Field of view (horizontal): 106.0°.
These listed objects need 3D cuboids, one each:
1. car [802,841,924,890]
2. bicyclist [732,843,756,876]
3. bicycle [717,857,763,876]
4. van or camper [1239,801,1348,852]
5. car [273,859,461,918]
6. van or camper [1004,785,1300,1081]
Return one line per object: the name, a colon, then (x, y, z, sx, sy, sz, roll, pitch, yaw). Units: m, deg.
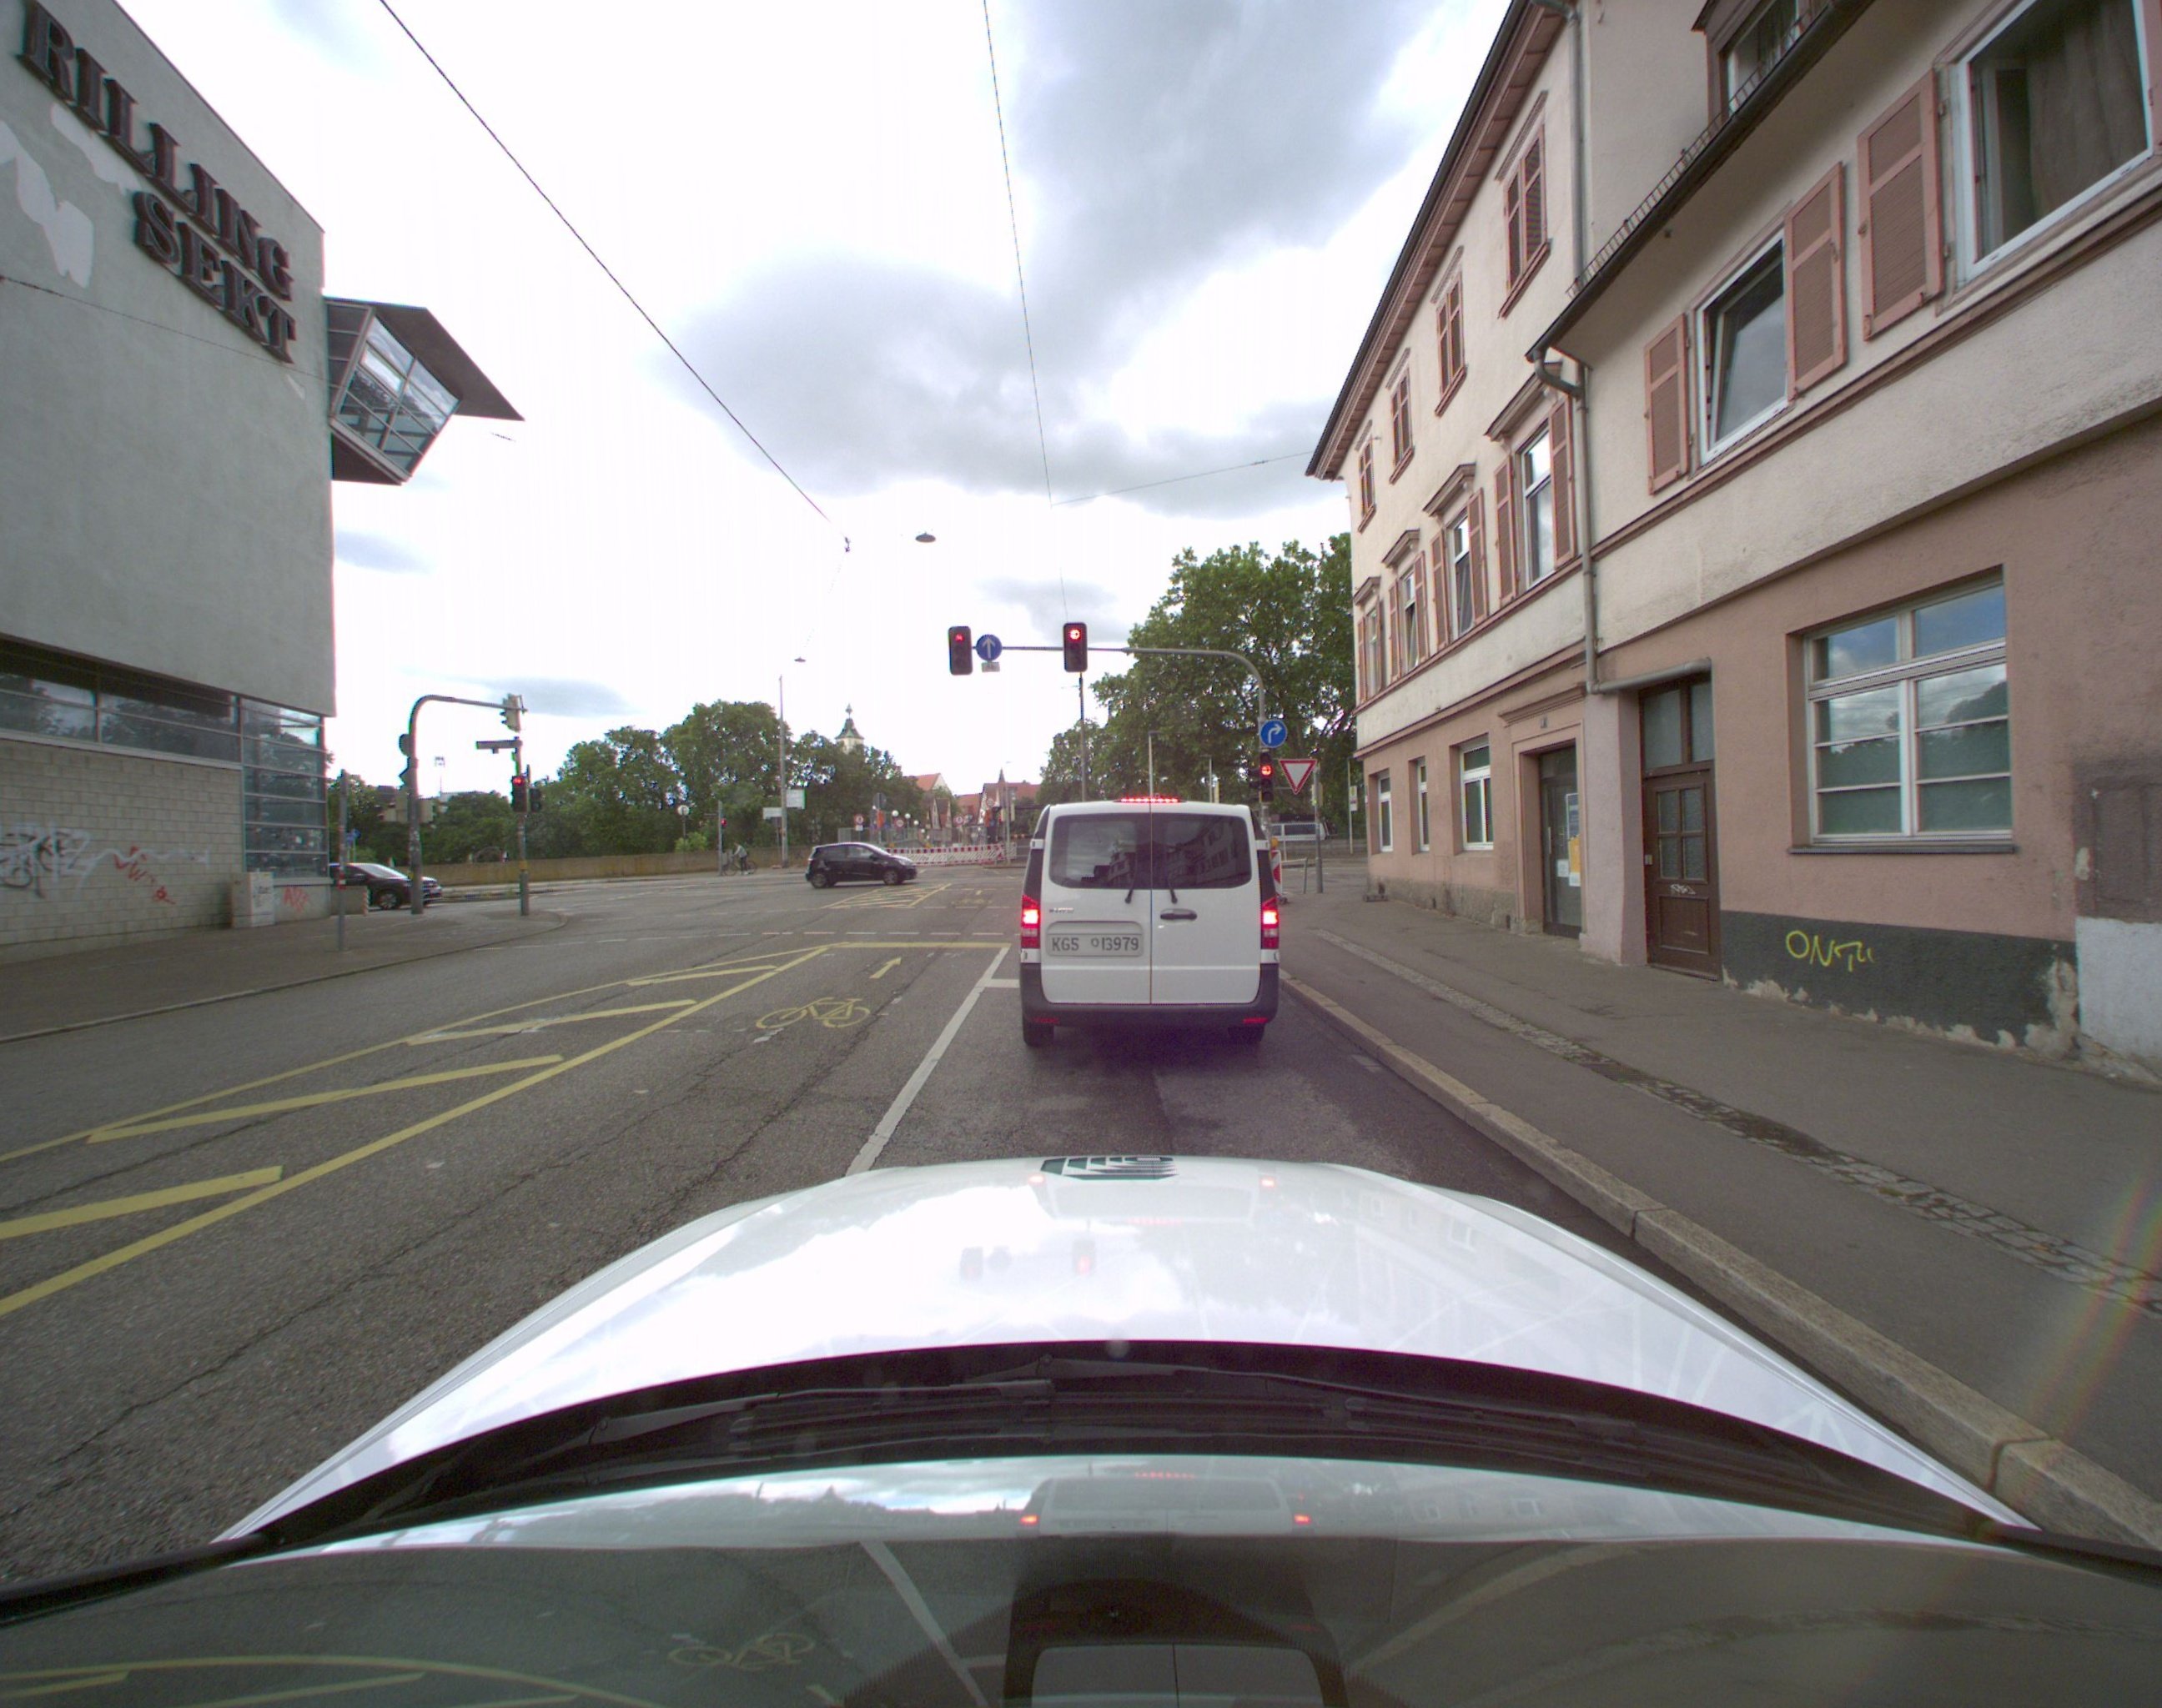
car: (-7.412, 0.358, 28.022, 3.739, 1.428, 1.825, -3, 2, -6)
bicyclist: (-18.042, 0.271, 43.617, 1.010, 1.743, 0.746, -2, 1, -39)
bicycle: (-18.196, 0.645, 43.485, 2.149, 0.892, 0.751, -3, 2, -39)
van or camper: (11.741, -1.488, 45.247, 5.384, 2.514, 2.032, -3, -1, -6)
car: (-22.852, 1.062, 26.243, 4.077, 1.573, 1.819, -3, 2, -15)
van or camper: (0.432, 0.445, 7.539, 1.932, 1.924, 4.439, 0, 2, -1)
